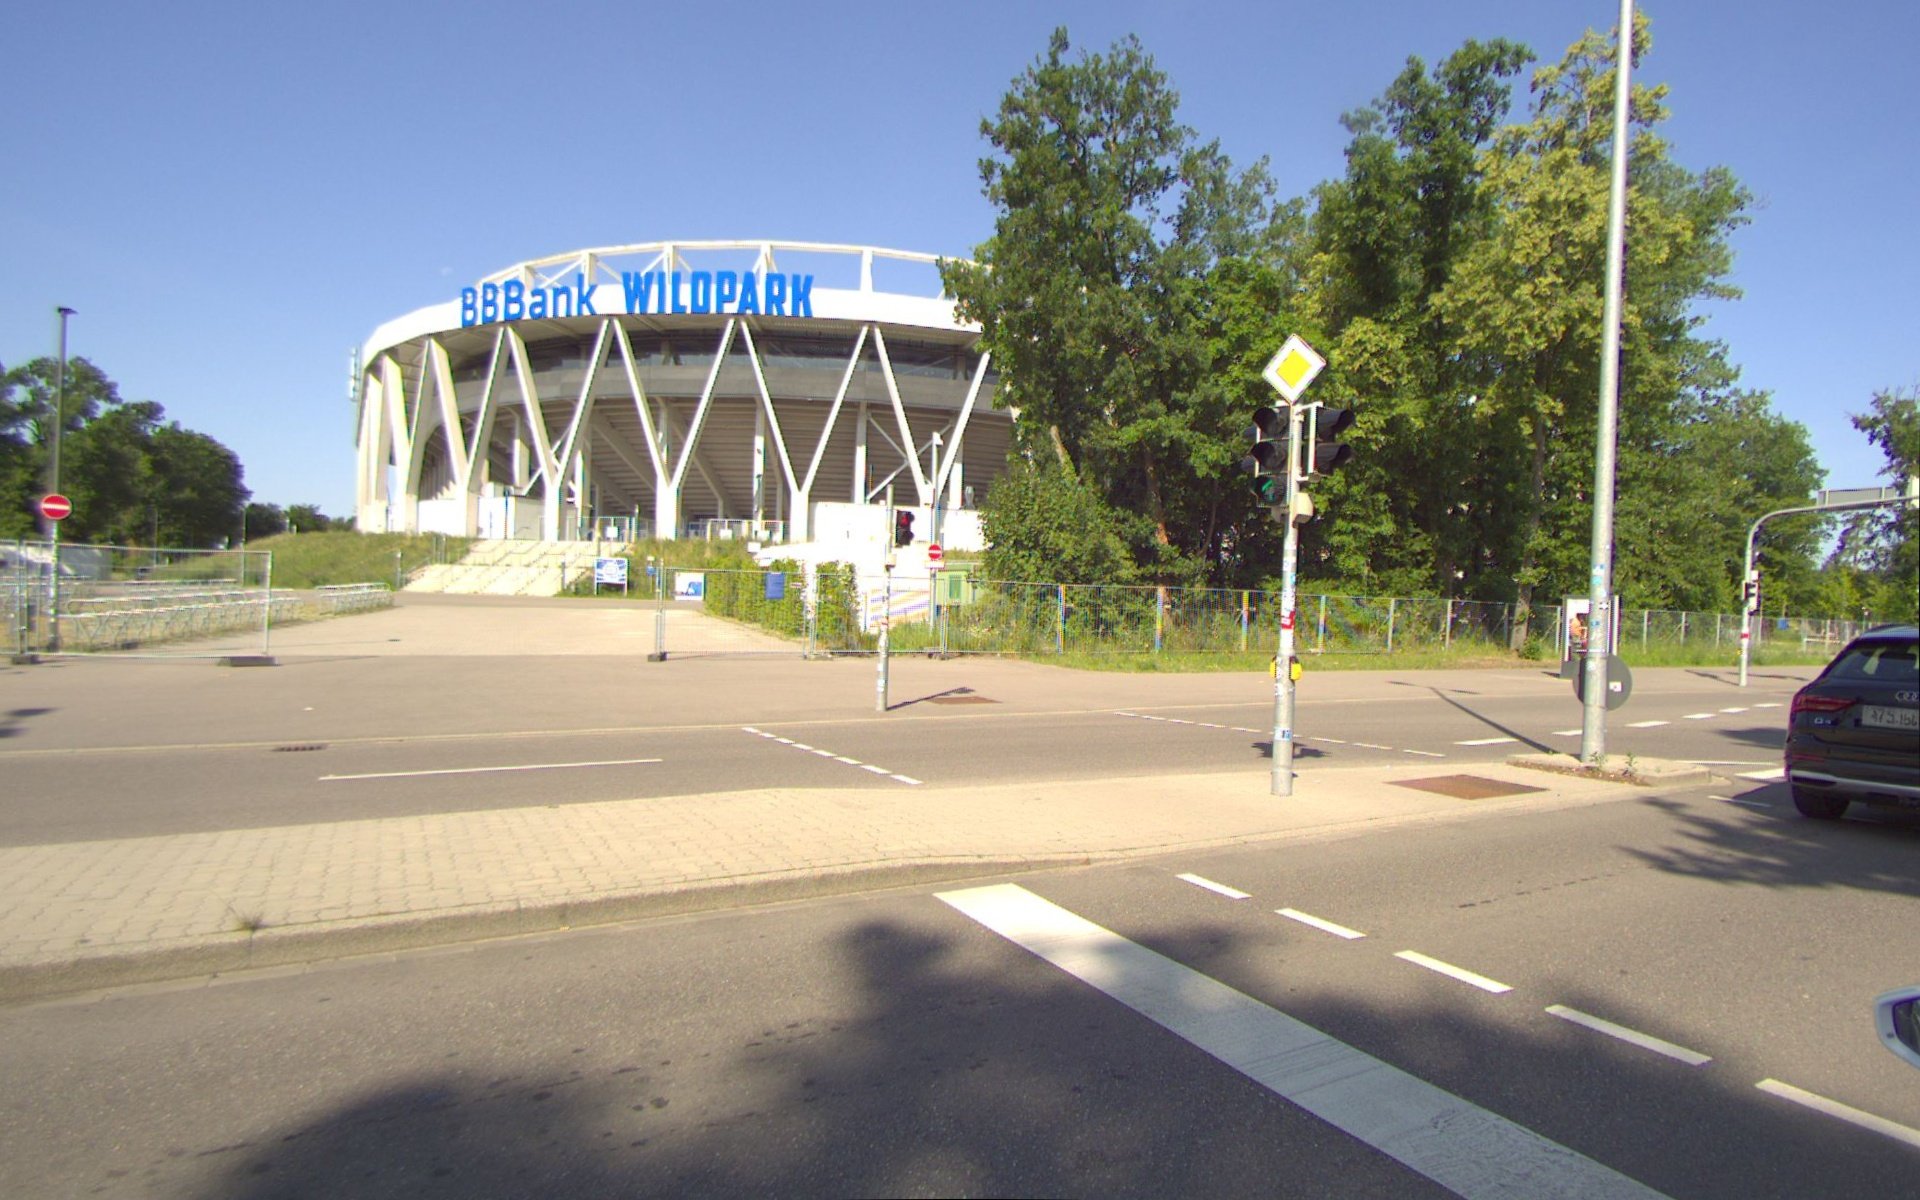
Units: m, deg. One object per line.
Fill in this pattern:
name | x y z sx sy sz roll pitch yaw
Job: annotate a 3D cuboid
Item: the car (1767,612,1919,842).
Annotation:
car | 8.321 0.928 7.962 4.100 1.565 1.679 2 -1 -31
